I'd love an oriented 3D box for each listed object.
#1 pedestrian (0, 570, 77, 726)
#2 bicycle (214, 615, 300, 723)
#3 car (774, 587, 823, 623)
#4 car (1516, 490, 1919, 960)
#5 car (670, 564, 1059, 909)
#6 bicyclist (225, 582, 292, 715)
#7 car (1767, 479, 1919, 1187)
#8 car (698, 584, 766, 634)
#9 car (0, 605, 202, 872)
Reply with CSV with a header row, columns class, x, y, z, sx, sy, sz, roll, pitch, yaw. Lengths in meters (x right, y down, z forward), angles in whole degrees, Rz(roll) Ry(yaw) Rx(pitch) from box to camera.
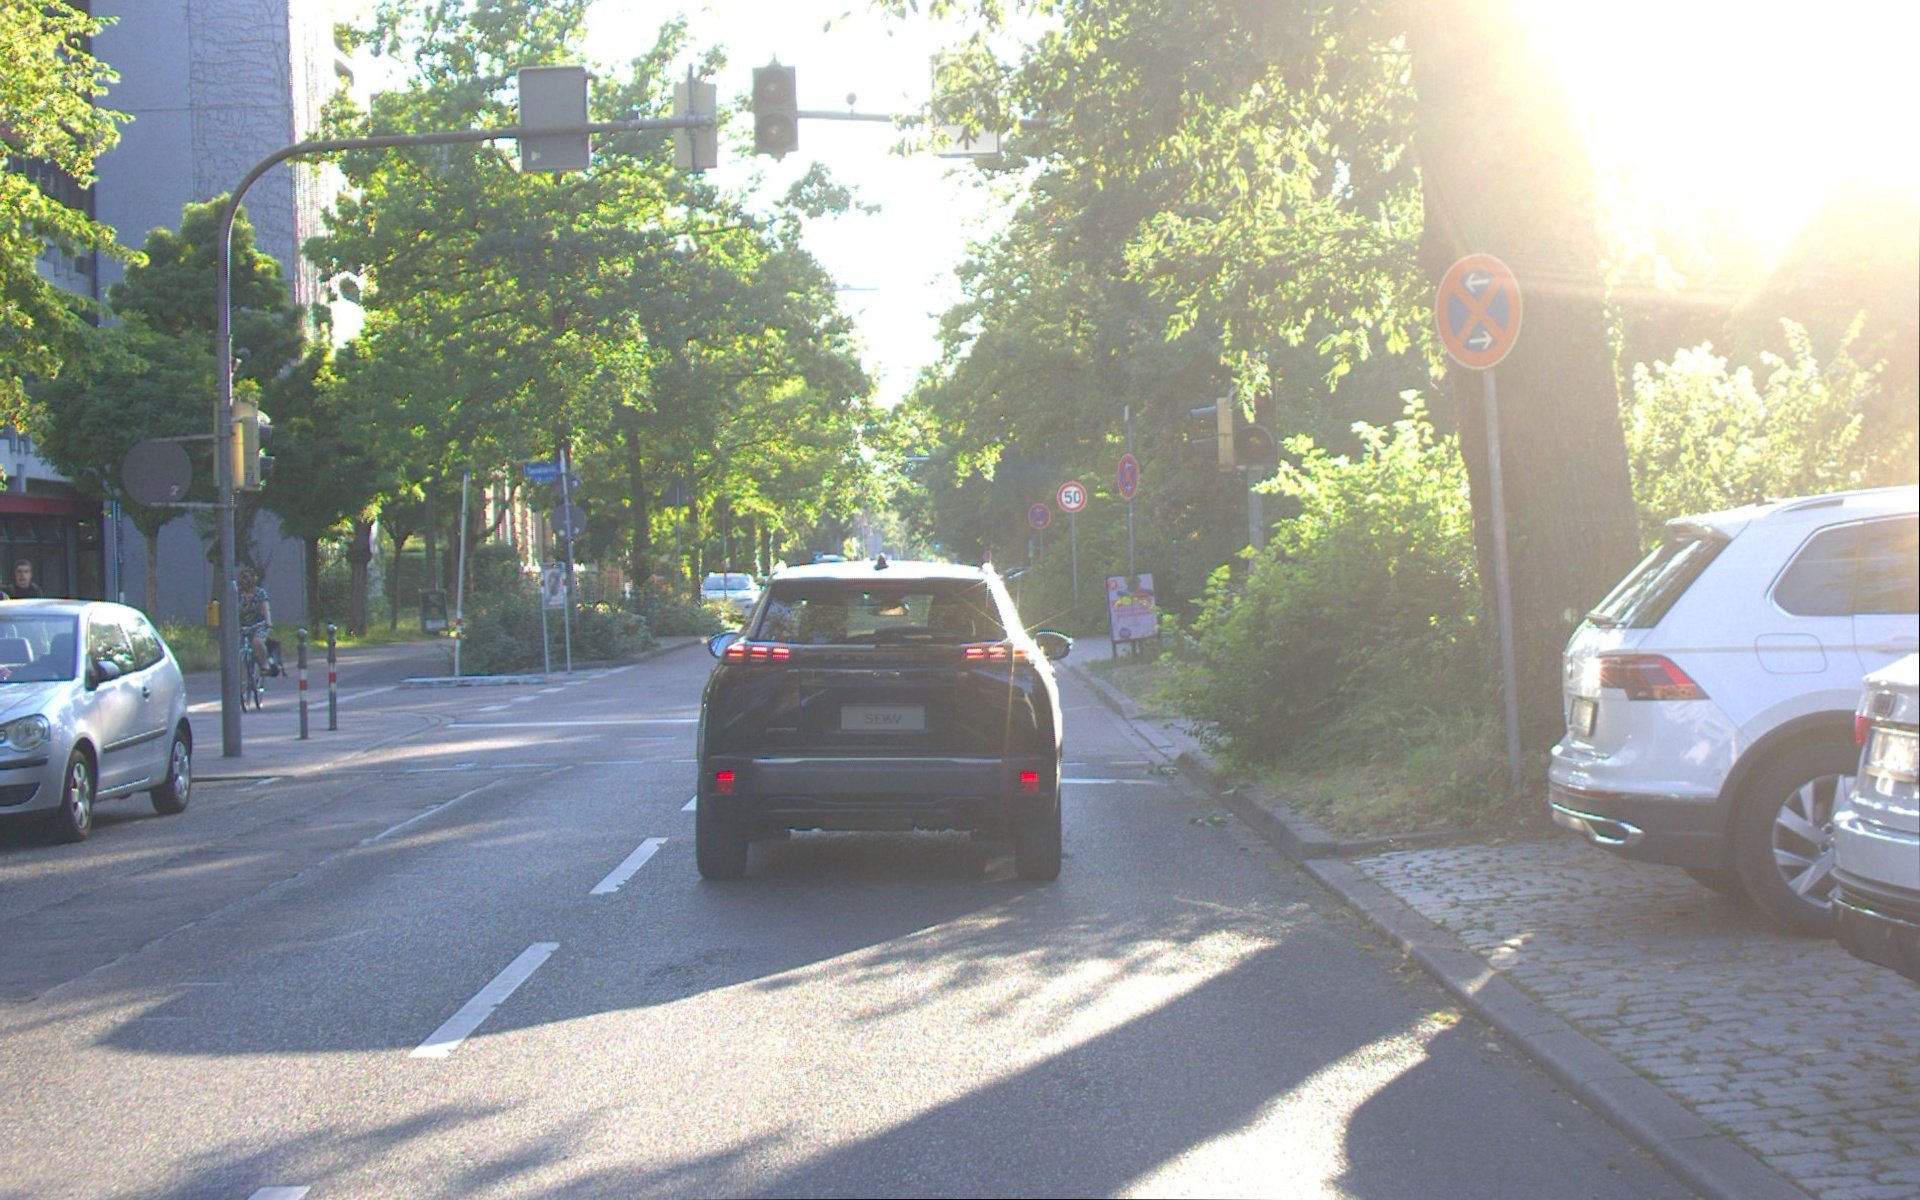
class,x,y,z,sx,sy,sz,roll,pitch,yaw
pedestrian,-11.104,0.563,41.055,0.954,1.817,0.823,-2,1,-20
bicycle,-8.577,0.824,42.012,0.686,1.245,2.193,-1,0,-3
car,-6.528,0.181,138.649,1.810,1.349,3.979,-2,1,-4
car,4.365,0.433,13.372,4.171,1.704,1.867,-1,0,4
car,-0.462,0.610,17.524,1.768,1.563,3.381,-1,1,-1
bicyclist,-8.576,0.588,42.034,0.675,1.598,0.706,-1,0,-3
car,4.309,0.529,8.689,4.122,1.662,1.723,0,0,0
car,-6.546,0.238,98.560,1.810,1.349,4.001,-2,1,-5
car,-6.072,0.827,21.609,1.679,1.452,3.882,-3,1,0
